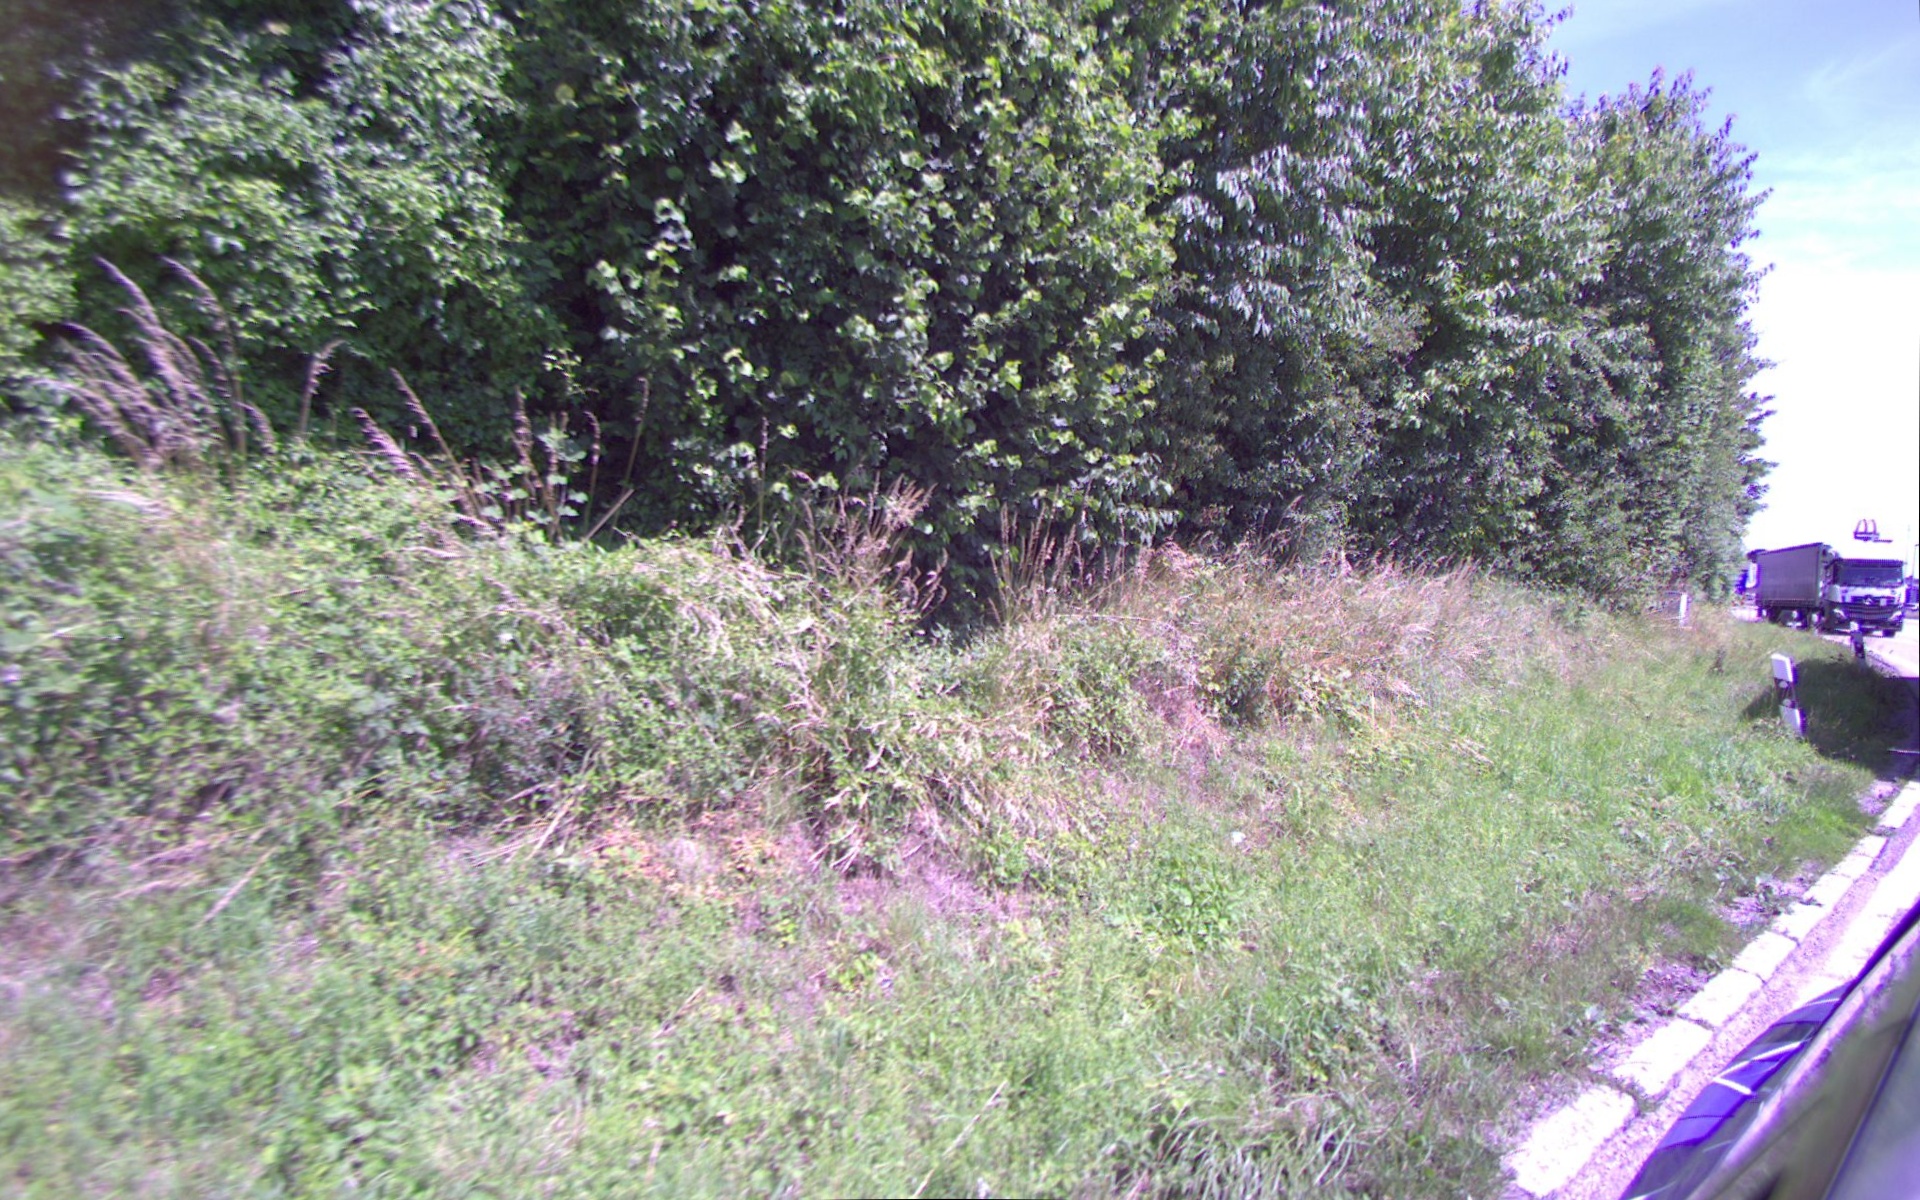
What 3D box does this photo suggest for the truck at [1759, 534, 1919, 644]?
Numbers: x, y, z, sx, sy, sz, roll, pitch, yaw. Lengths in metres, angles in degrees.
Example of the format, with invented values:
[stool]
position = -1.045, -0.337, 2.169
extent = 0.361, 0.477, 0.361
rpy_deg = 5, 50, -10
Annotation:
[truck]
position = 42.383, -0.688, 49.170
extent = 2.957, 4.527, 16.287
rpy_deg = 0, 2, 29
